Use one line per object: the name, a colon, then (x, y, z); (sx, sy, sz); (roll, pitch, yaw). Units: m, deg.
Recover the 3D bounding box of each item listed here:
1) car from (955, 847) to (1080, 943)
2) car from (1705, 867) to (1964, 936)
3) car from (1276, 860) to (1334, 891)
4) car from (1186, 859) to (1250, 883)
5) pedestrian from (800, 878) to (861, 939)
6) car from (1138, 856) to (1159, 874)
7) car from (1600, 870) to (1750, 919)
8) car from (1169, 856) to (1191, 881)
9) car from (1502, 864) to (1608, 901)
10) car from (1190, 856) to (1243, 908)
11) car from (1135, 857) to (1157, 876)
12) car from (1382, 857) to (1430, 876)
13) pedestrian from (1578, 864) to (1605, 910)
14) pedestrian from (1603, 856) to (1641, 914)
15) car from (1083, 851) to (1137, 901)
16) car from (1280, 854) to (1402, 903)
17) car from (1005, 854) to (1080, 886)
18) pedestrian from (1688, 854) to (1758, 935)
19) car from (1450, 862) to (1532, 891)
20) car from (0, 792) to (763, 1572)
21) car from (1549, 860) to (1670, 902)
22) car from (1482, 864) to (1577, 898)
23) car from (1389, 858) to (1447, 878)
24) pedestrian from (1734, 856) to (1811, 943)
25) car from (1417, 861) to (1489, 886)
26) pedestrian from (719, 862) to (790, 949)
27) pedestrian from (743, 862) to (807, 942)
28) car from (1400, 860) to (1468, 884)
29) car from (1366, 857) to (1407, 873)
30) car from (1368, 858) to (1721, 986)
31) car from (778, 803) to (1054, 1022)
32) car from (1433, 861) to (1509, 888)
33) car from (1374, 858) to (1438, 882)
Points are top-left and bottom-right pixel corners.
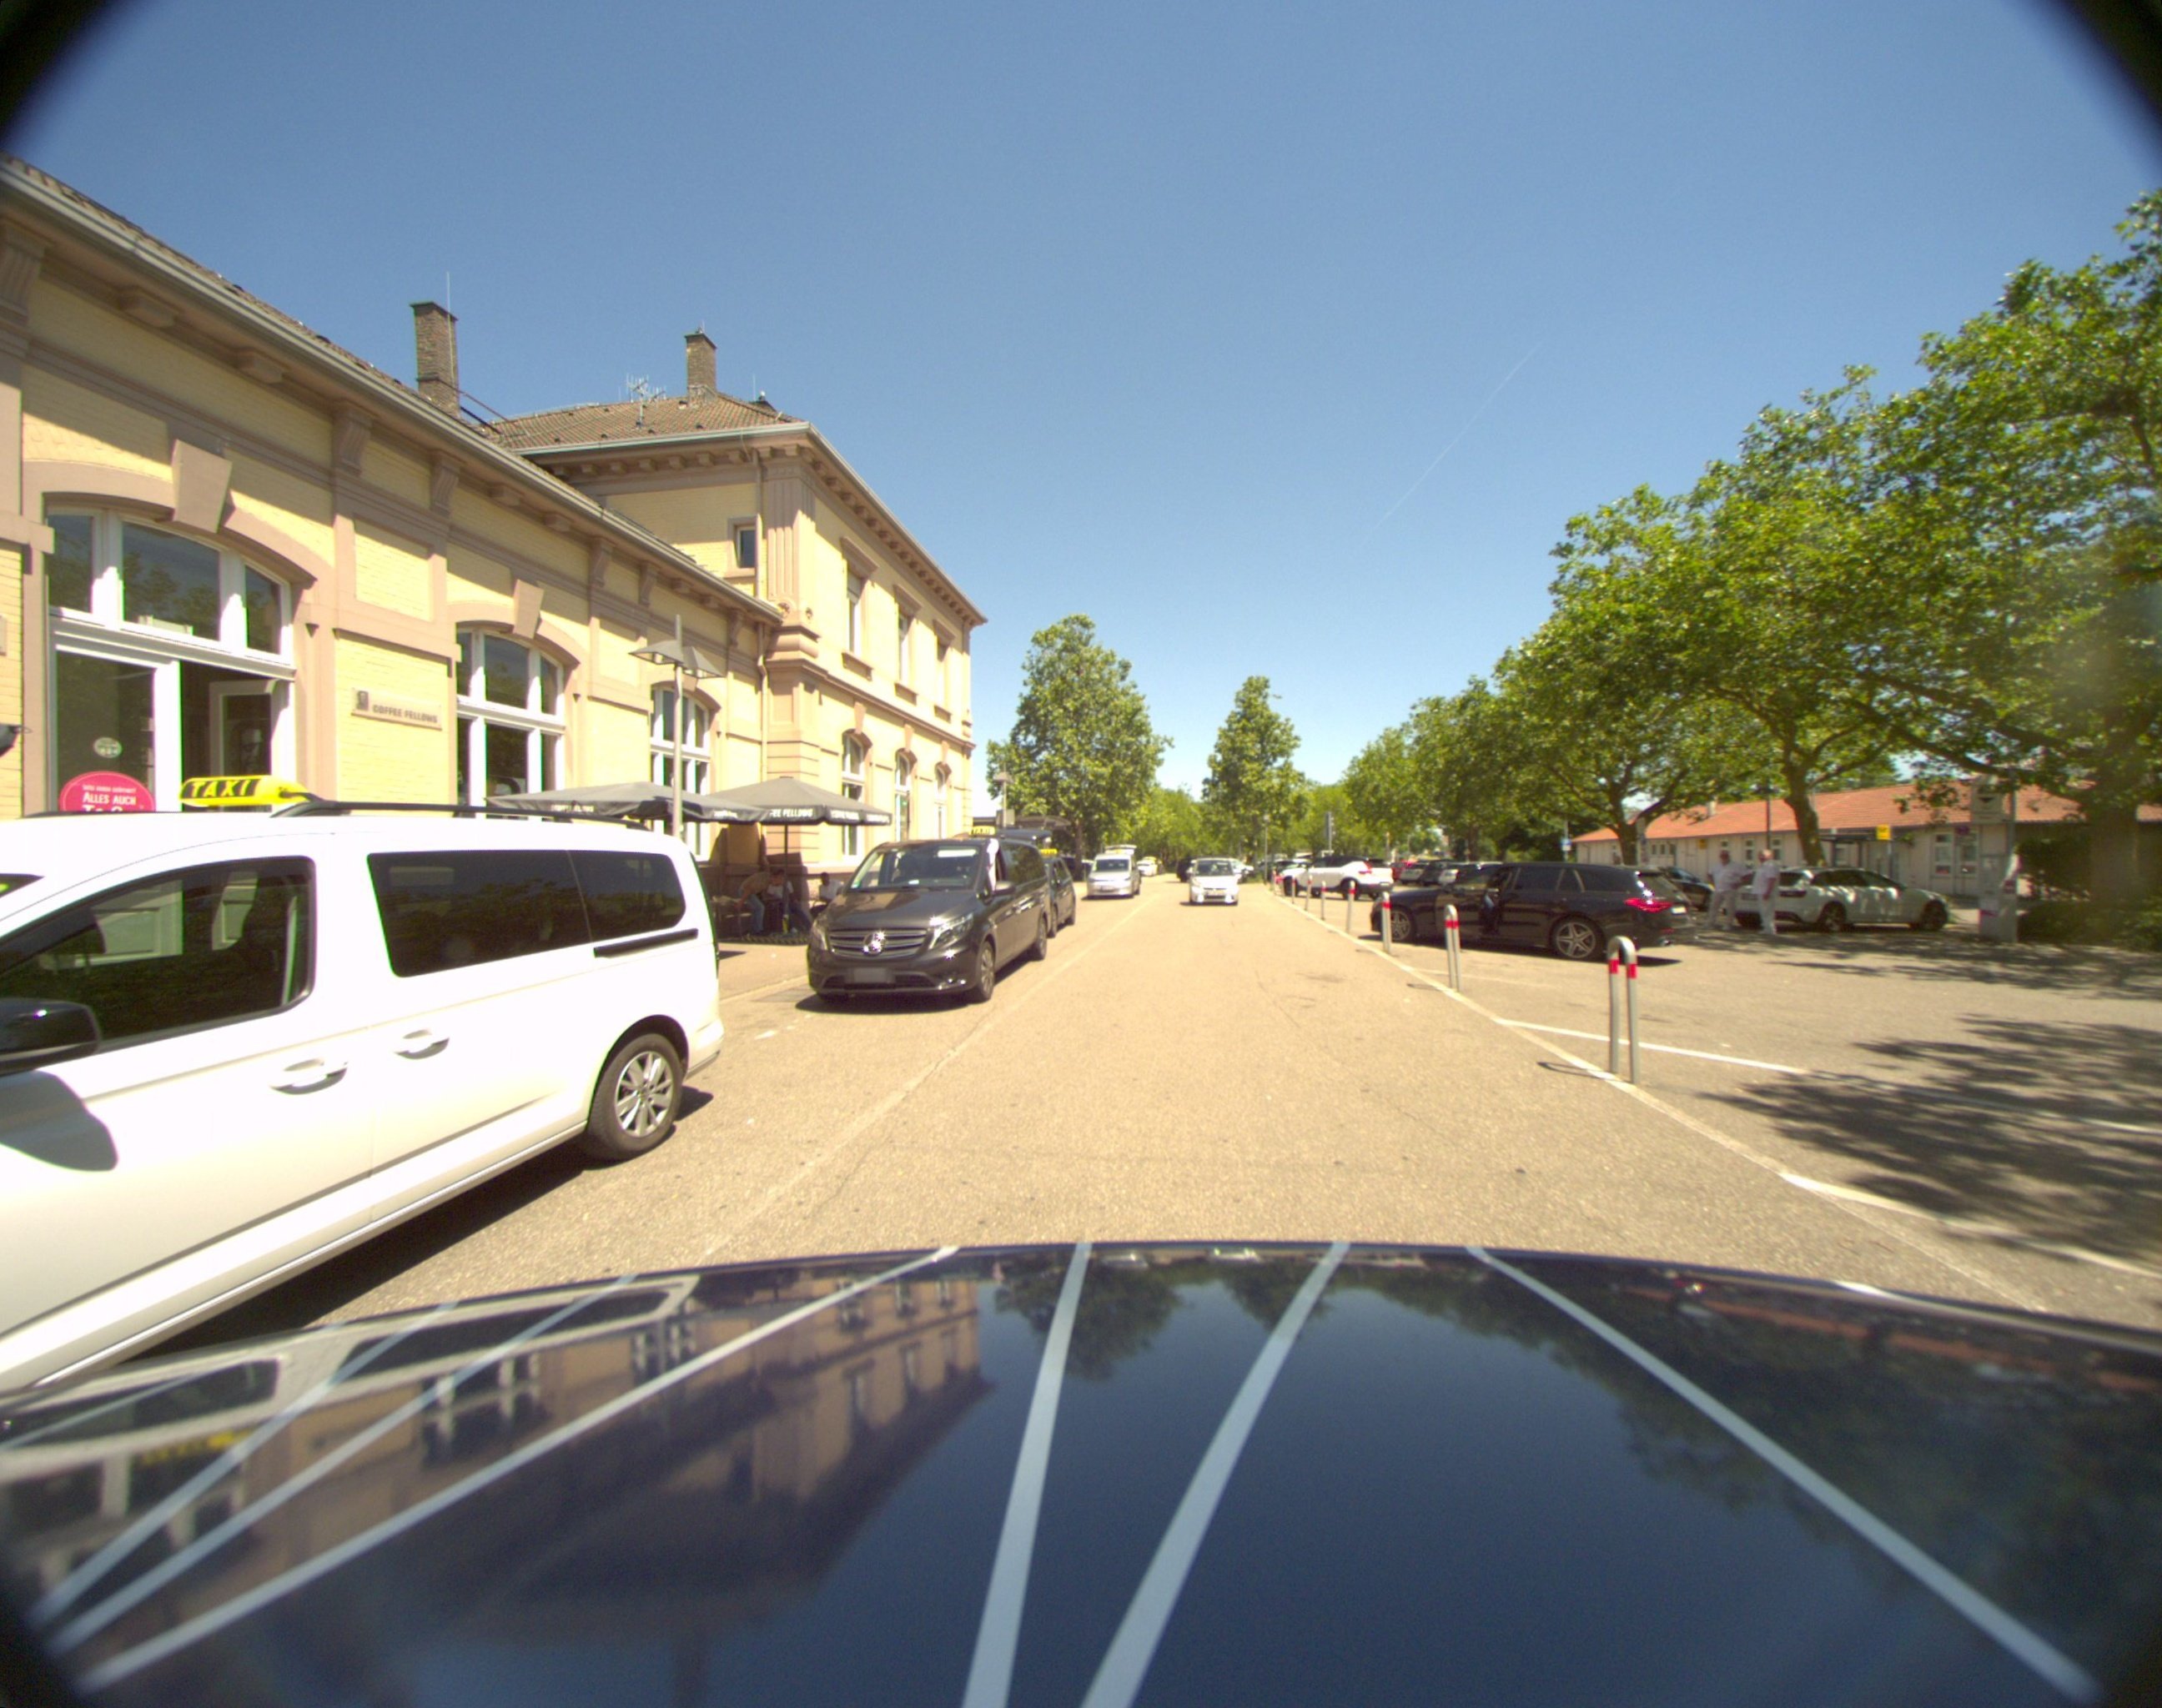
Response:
car: (-1.236, 0.838, 17.195); (2.078, 1.829, 4.843); (-1, -1, 4)
car: (17.203, 1.025, 17.425); (4.779, 1.408, 1.785); (0, 0, -10)
car: (14.129, 1.307, 48.226); (1.740, 1.882, 3.995); (0, 0, -14)
car: (8.456, 1.030, 47.097); (1.807, 1.395, 3.503); (0, 0, -41)
pedestrian: (-5.069, 1.083, 15.443); (0.850, 1.158, 0.882); (1, 0, 8)
car: (7.264, 1.128, 81.900); (2.049, 1.829, 4.966); (-2, 0, 4)
car: (18.606, 1.216, 23.832); (4.031, 1.397, 1.875); (0, 0, -20)
car: (6.903, 0.977, 53.113); (1.455, 1.660, 3.108); (0, 0, 7)
car: (19.596, 1.146, 31.412); (3.880, 1.451, 1.634); (0, 0, -19)
car: (4.359, 0.860, 24.796); (1.599, 1.584, 3.108); (0, 0, 8)
car: (6.384, 1.212, 75.294); (2.049, 1.829, 4.966); (-2, 0, 4)
car: (25.099, 0.973, 58.718); (3.157, 1.386, 1.466); (0, 0, 3)
pedestrian: (16.245, 1.043, 24.197); (0.689, 1.416, 0.803); (0, 0, 31)
pedestrian: (14.567, 0.831, 20.468); (0.589, 1.539, 0.611); (1, 0, 5)
car: (1.283, 0.853, 31.474); (2.002, 1.829, 5.320); (-2, 0, 4)
car: (9.714, 0.846, 28.682); (1.804, 1.596, 4.052); (-2, 2, -36)
car: (-2.719, 1.112, 54.520); (4.958, 2.108, 2.053); (-2, 0, 8)
pedestrian: (14.360, 0.886, 17.023); (0.839, 1.760, 0.851); (0, 0, -10)
car: (21.796, 1.178, 40.408); (3.880, 1.451, 1.634); (0, 0, -19)
car: (-3.387, 0.806, 2.721); (1.813, 1.854, 5.142); (-1, -1, 7)
car: (19.199, 0.937, 27.627); (3.880, 1.451, 1.634); (0, 0, -19)
car: (20.523, 1.191, 34.781); (3.880, 1.451, 1.634); (0, 0, -19)
car: (25.008, 1.044, 56.376); (3.880, 1.439, 1.634); (0, 0, -19)
pedestrian: (14.547, 0.932, 16.002); (0.839, 1.760, 0.851); (0, 0, -11)
car: (22.380, 1.134, 45.730); (3.880, 1.451, 1.634); (0, 0, -19)
pedestrian: (-6.055, 0.926, 14.125); (0.880, 1.534, 0.852); (1, 0, 5)
pedestrian: (-6.143, 0.934, 15.304); (0.880, 1.534, 0.852); (1, 0, 5)
car: (22.322, 1.114, 48.062); (3.880, 1.451, 1.634); (0, 0, -19)
car: (27.537, 0.965, 68.602); (3.157, 1.386, 1.466); (0, 0, 3)
car: (7.225, 0.912, 12.326); (1.804, 1.534, 4.517); (-2, 2, -37)
car: (-1.725, 0.627, 10.339); (2.091, 2.111, 5.828); (-1, -1, 4)
car: (22.266, 1.155, 43.388); (3.880, 1.451, 1.634); (0, 0, -19)
car: (21.769, 1.034, 50.936); (3.880, 1.565, 1.634); (0, 0, -19)
